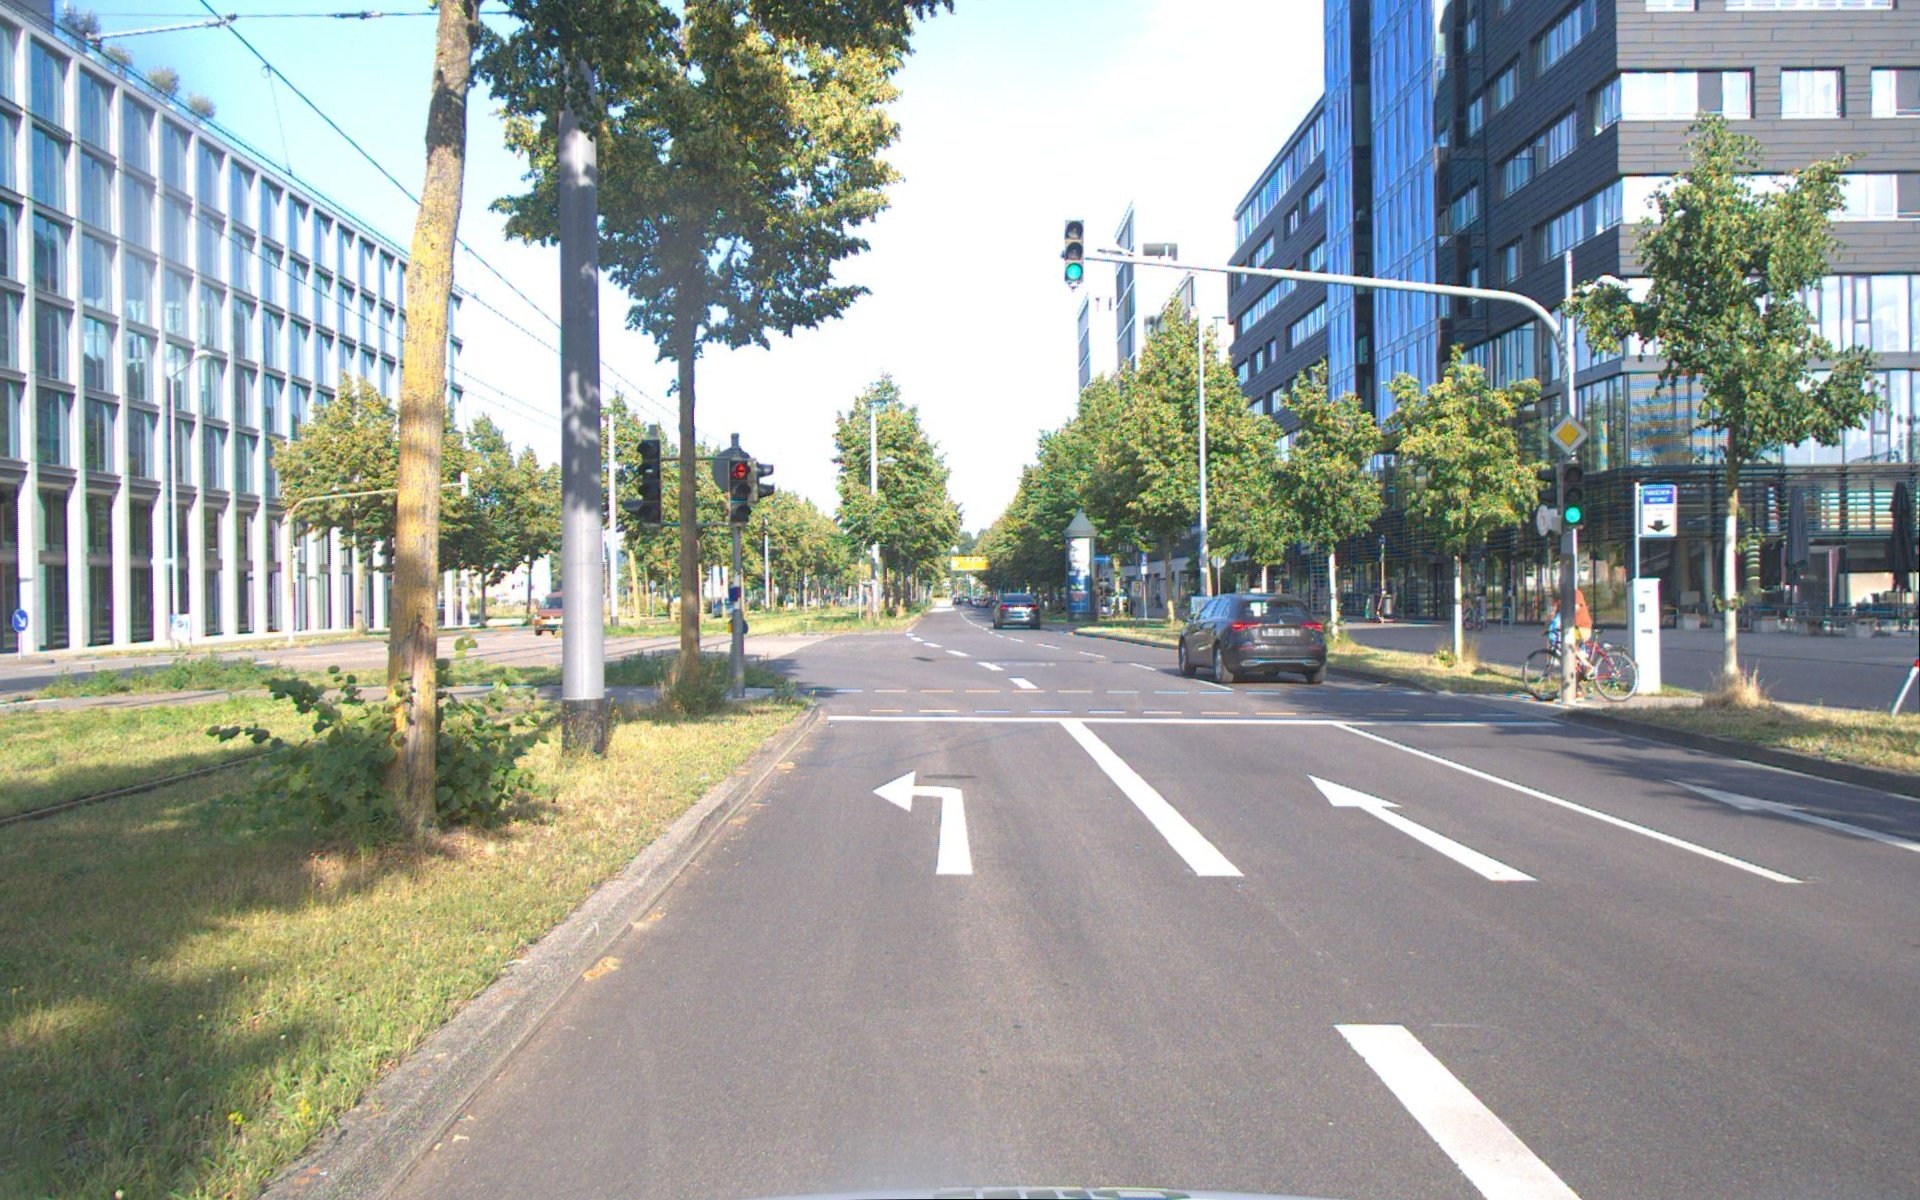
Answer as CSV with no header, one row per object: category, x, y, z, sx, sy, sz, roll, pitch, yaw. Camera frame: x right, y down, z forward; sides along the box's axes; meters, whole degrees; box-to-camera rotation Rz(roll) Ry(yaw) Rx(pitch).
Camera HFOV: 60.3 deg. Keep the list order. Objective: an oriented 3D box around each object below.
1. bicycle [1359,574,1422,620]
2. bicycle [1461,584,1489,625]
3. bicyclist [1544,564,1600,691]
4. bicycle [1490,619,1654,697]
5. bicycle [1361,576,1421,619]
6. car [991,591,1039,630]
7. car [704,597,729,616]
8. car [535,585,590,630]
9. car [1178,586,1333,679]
bicycle,18.359,-0.124,70.580,2.510,1.890,0.570,1,-1,9
bicycle,17.611,0.174,56.561,0.365,1.370,1.894,1,-1,0
bicyclist,8.544,0.383,23.108,0.563,1.737,0.540,1,-1,-2
bicycle,8.539,0.806,23.106,2.092,1.030,0.571,1,0,-5
bicycle,18.117,-0.113,69.569,2.383,1.776,0.554,1,-1,9
car,2.240,0.425,67.946,1.822,1.551,3.785,1,0,0
car,-19.046,0.517,129.460,1.606,1.468,3.953,1,0,-4
car,-16.890,0.314,70.449,1.651,1.806,3.879,1,0,-4
car,4.930,0.520,28.105,1.739,1.449,3.958,1,0,-3
